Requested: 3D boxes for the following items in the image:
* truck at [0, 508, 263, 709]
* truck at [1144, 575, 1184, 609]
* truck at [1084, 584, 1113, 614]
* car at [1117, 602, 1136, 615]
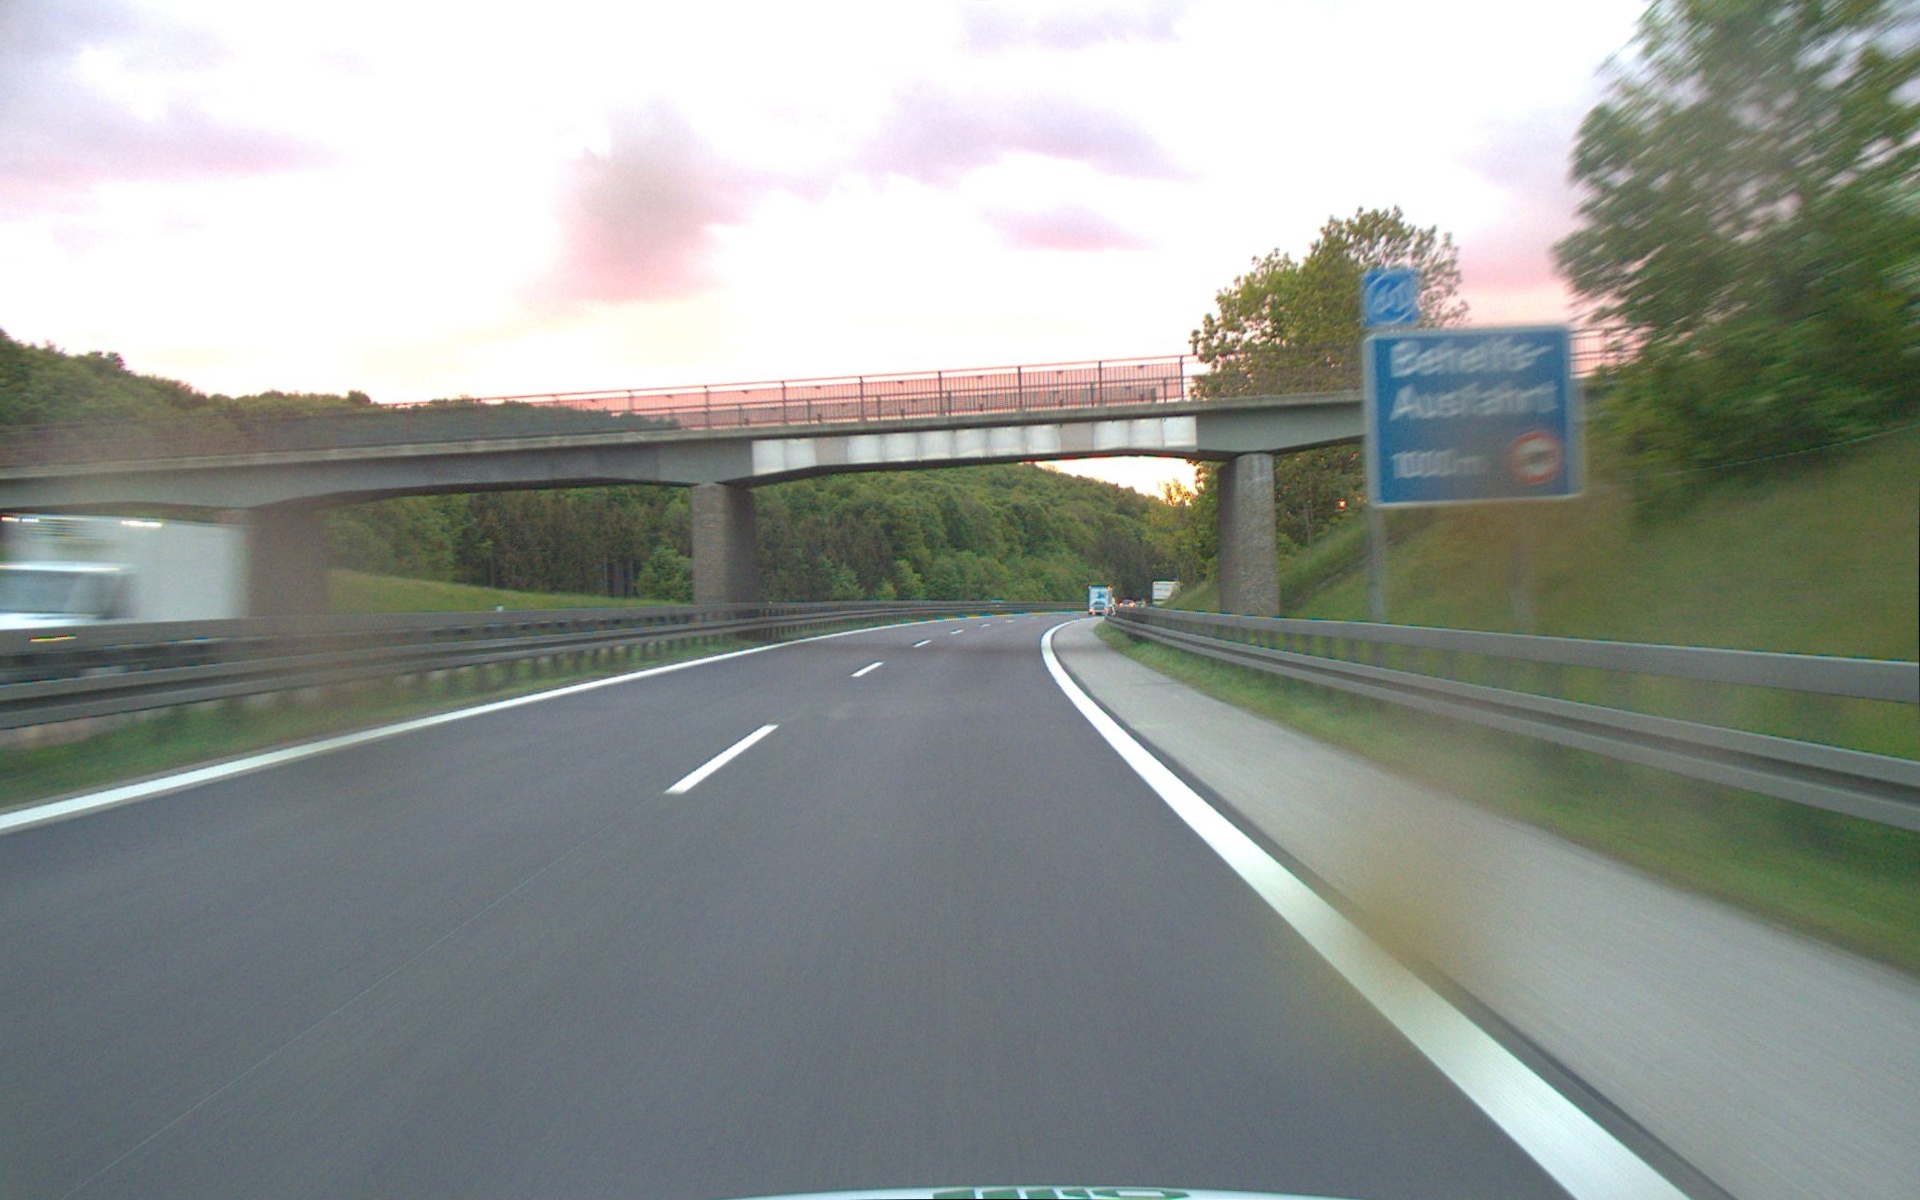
[{"bbox_3d":[-15.210,0.118,29.505,2.558,3.164,6.670,1,0,1],"label":"truck"},{"bbox_3d":[27.350,-1.119,220.942,3.873,4.362,14.335,-1,0,13],"label":"truck"},{"bbox_3d":[13.358,-0.129,159.406,2.227,2.711,5.241,-2,1,10],"label":"truck"},{"bbox_3d":[21.525,1.070,213.605,1.951,1.544,4.003,-1,0,14],"label":"car"}]
